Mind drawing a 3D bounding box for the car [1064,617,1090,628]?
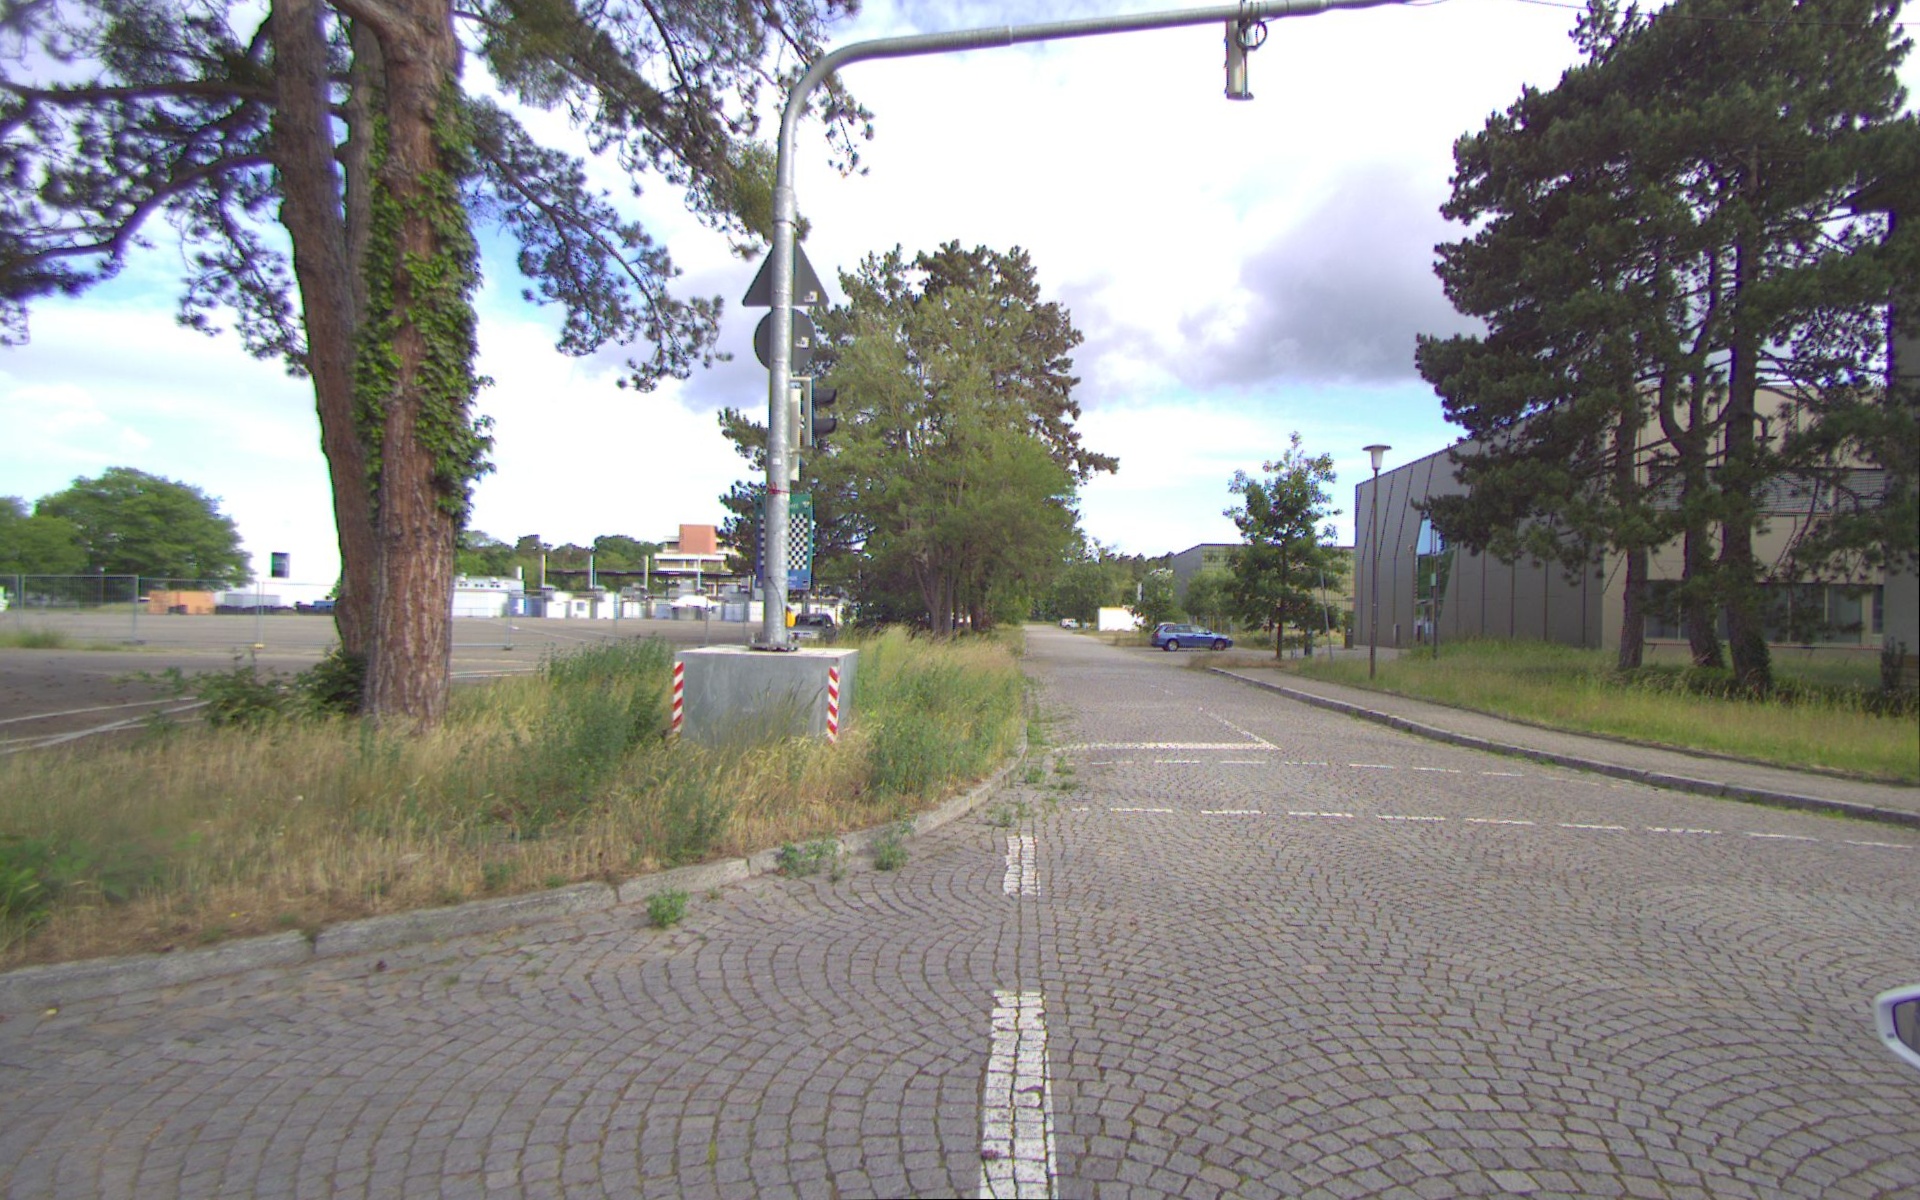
[{"bbox_3d":[19.884,3.759,170.360,4.281,1.804,1.926,1,-1,5],"label":"car"}]

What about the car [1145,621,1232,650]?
[{"bbox_3d":[12.698,1.943,55.988,4.443,1.552,2.000,0,-1,0],"label":"car"}]

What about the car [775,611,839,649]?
[{"bbox_3d":[-6.384,1.228,42.369,1.887,1.496,4.370,1,-1,1],"label":"car"}]

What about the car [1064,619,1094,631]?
[{"bbox_3d":[17.680,3.745,149.453,4.281,1.710,1.926,1,-1,3],"label":"car"}]

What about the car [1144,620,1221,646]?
[{"bbox_3d":[13.976,2.079,63.280,4.441,1.552,2.001,0,-1,4],"label":"car"}]
